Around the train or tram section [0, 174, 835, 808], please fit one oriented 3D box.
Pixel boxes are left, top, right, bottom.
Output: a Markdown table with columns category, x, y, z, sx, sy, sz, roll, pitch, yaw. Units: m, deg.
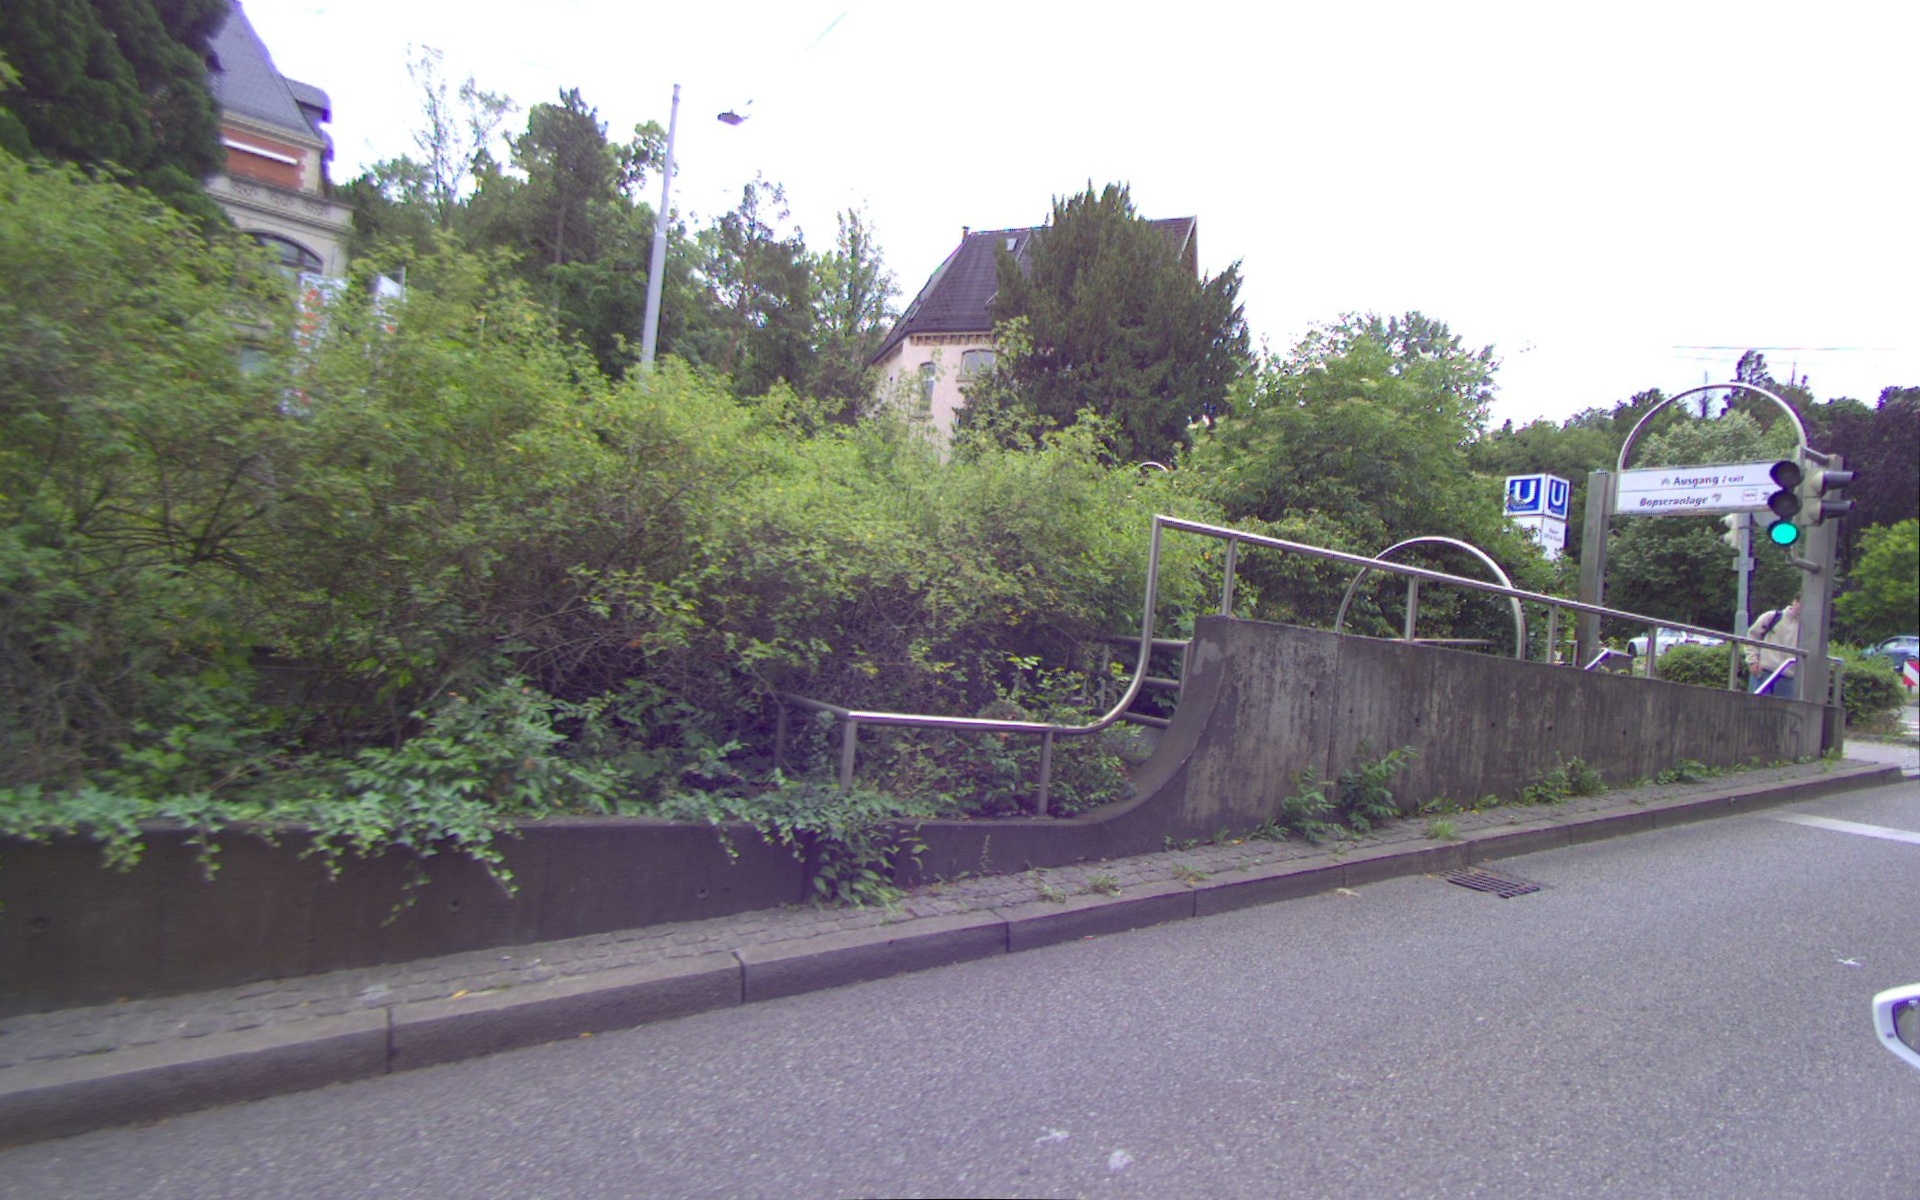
| category | x | y | z | sx | sy | sz | roll | pitch | yaw |
| --- | --- | --- | --- | --- | --- | --- | --- | --- | --- |
| train or tram section | -7.312 | -0.714 | 6.176 | 12.848 | 3.554 | 2.933 | 5 | -2 | -32 |

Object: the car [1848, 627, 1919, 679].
| category | x | y | z | sx | sy | sz | roll | pitch | yaw |
| --- | --- | --- | --- | --- | --- | --- | --- | --- | --- |
| car | 33.346 | 1.883 | 35.091 | 1.829 | 1.653 | 3.960 | 4 | 1 | 16 |

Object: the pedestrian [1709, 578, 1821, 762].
| category | x | y | z | sx | sy | sz | roll | pitch | yaw |
| --- | --- | --- | --- | --- | --- | --- | --- | --- | --- |
| pedestrian | 8.590 | 0.723 | 10.730 | 0.605 | 1.886 | 0.703 | 2 | 0 | -24 |

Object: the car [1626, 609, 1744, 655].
| category | x | y | z | sx | sy | sz | roll | pitch | yaw |
| --- | --- | --- | --- | --- | --- | --- | --- | --- | --- |
| car | 30.692 | 1.300 | 42.689 | 2.210 | 1.539 | 4.310 | 7 | 1 | 9 |
